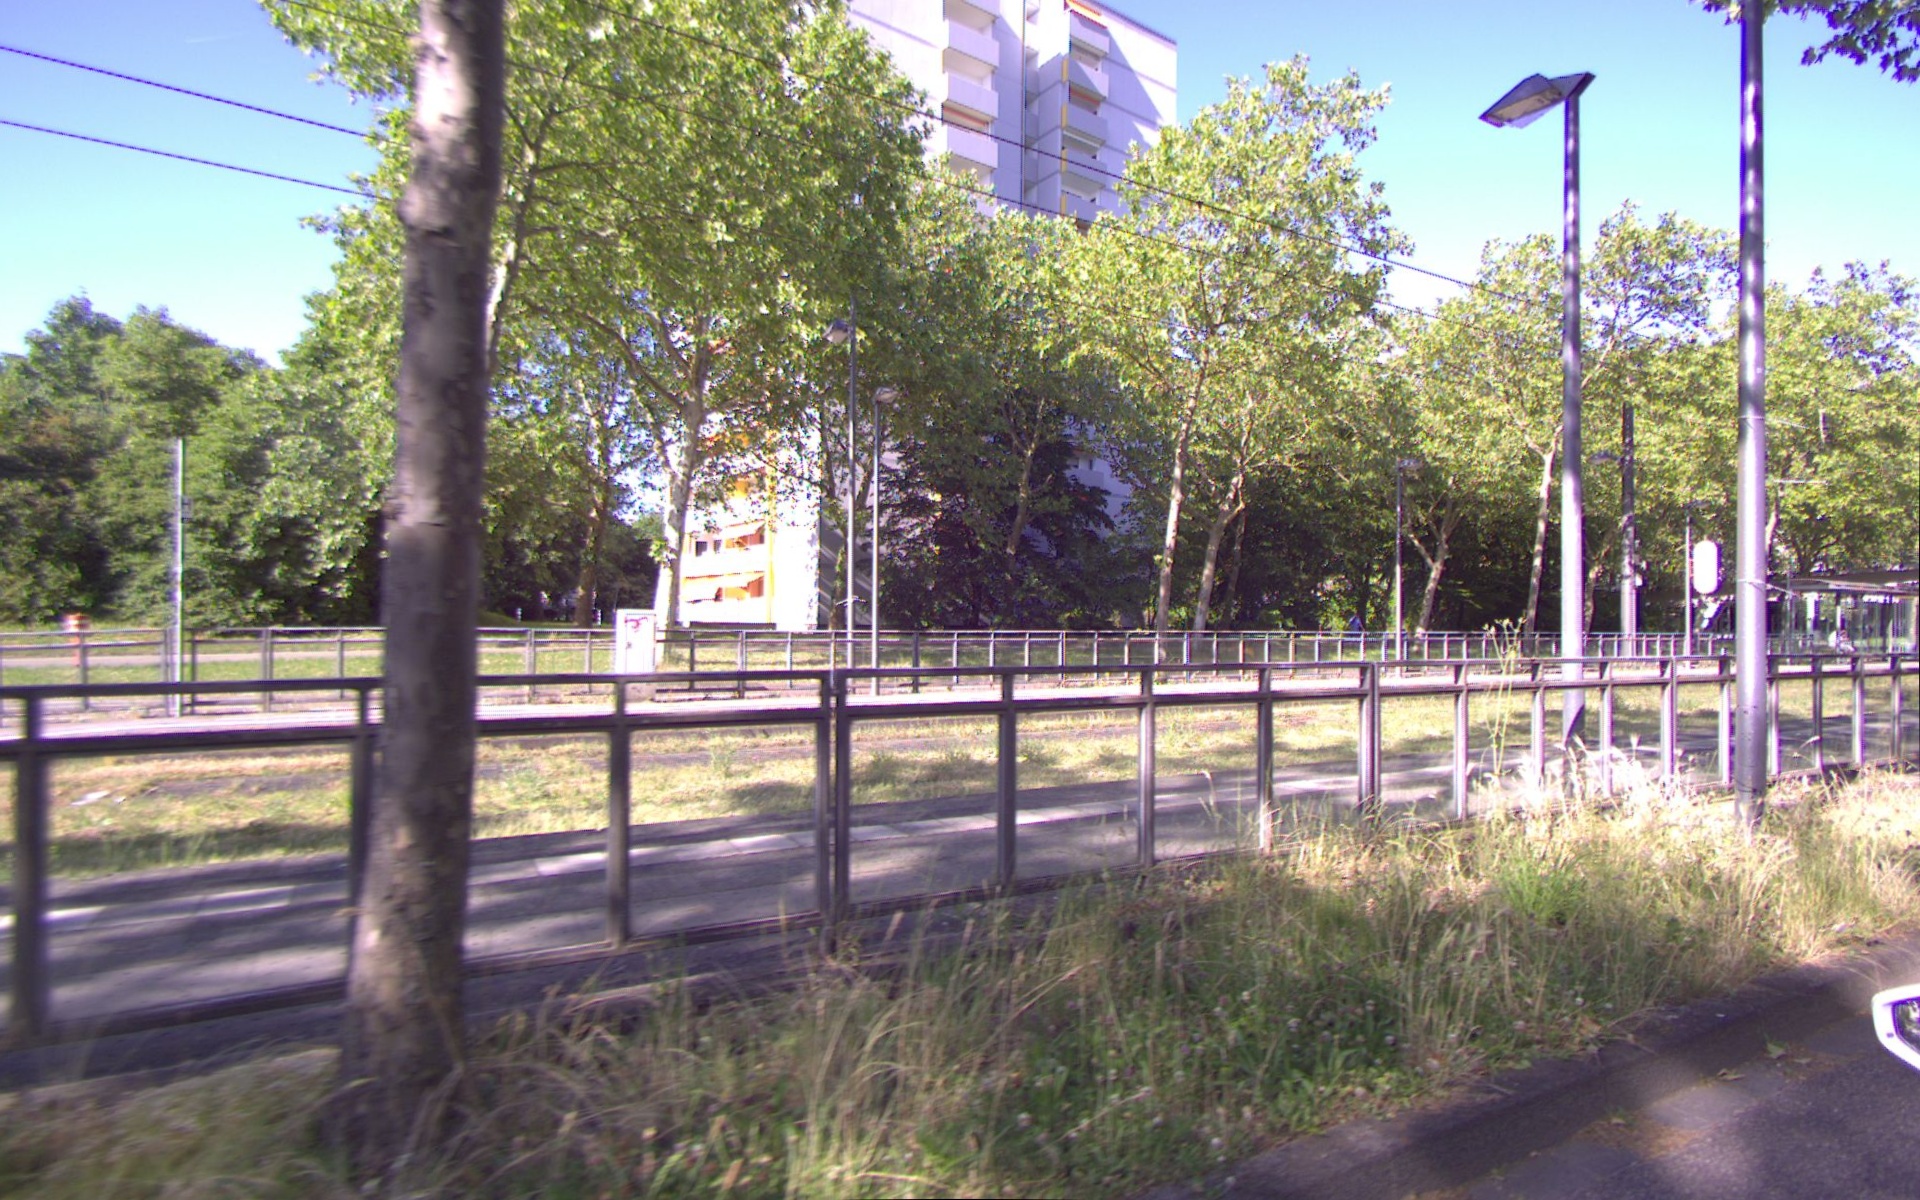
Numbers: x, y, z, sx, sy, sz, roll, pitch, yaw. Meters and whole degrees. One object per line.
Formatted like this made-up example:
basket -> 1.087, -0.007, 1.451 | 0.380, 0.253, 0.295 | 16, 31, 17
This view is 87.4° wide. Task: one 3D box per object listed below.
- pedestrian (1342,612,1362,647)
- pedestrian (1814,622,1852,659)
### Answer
pedestrian -> 18.883, 1.424, 48.412 | 0.642, 1.683, 0.645 | 1, 0, -29
pedestrian -> 29.407, 1.351, 33.847 | 0.753, 1.199, 0.763 | 1, 0, -29
